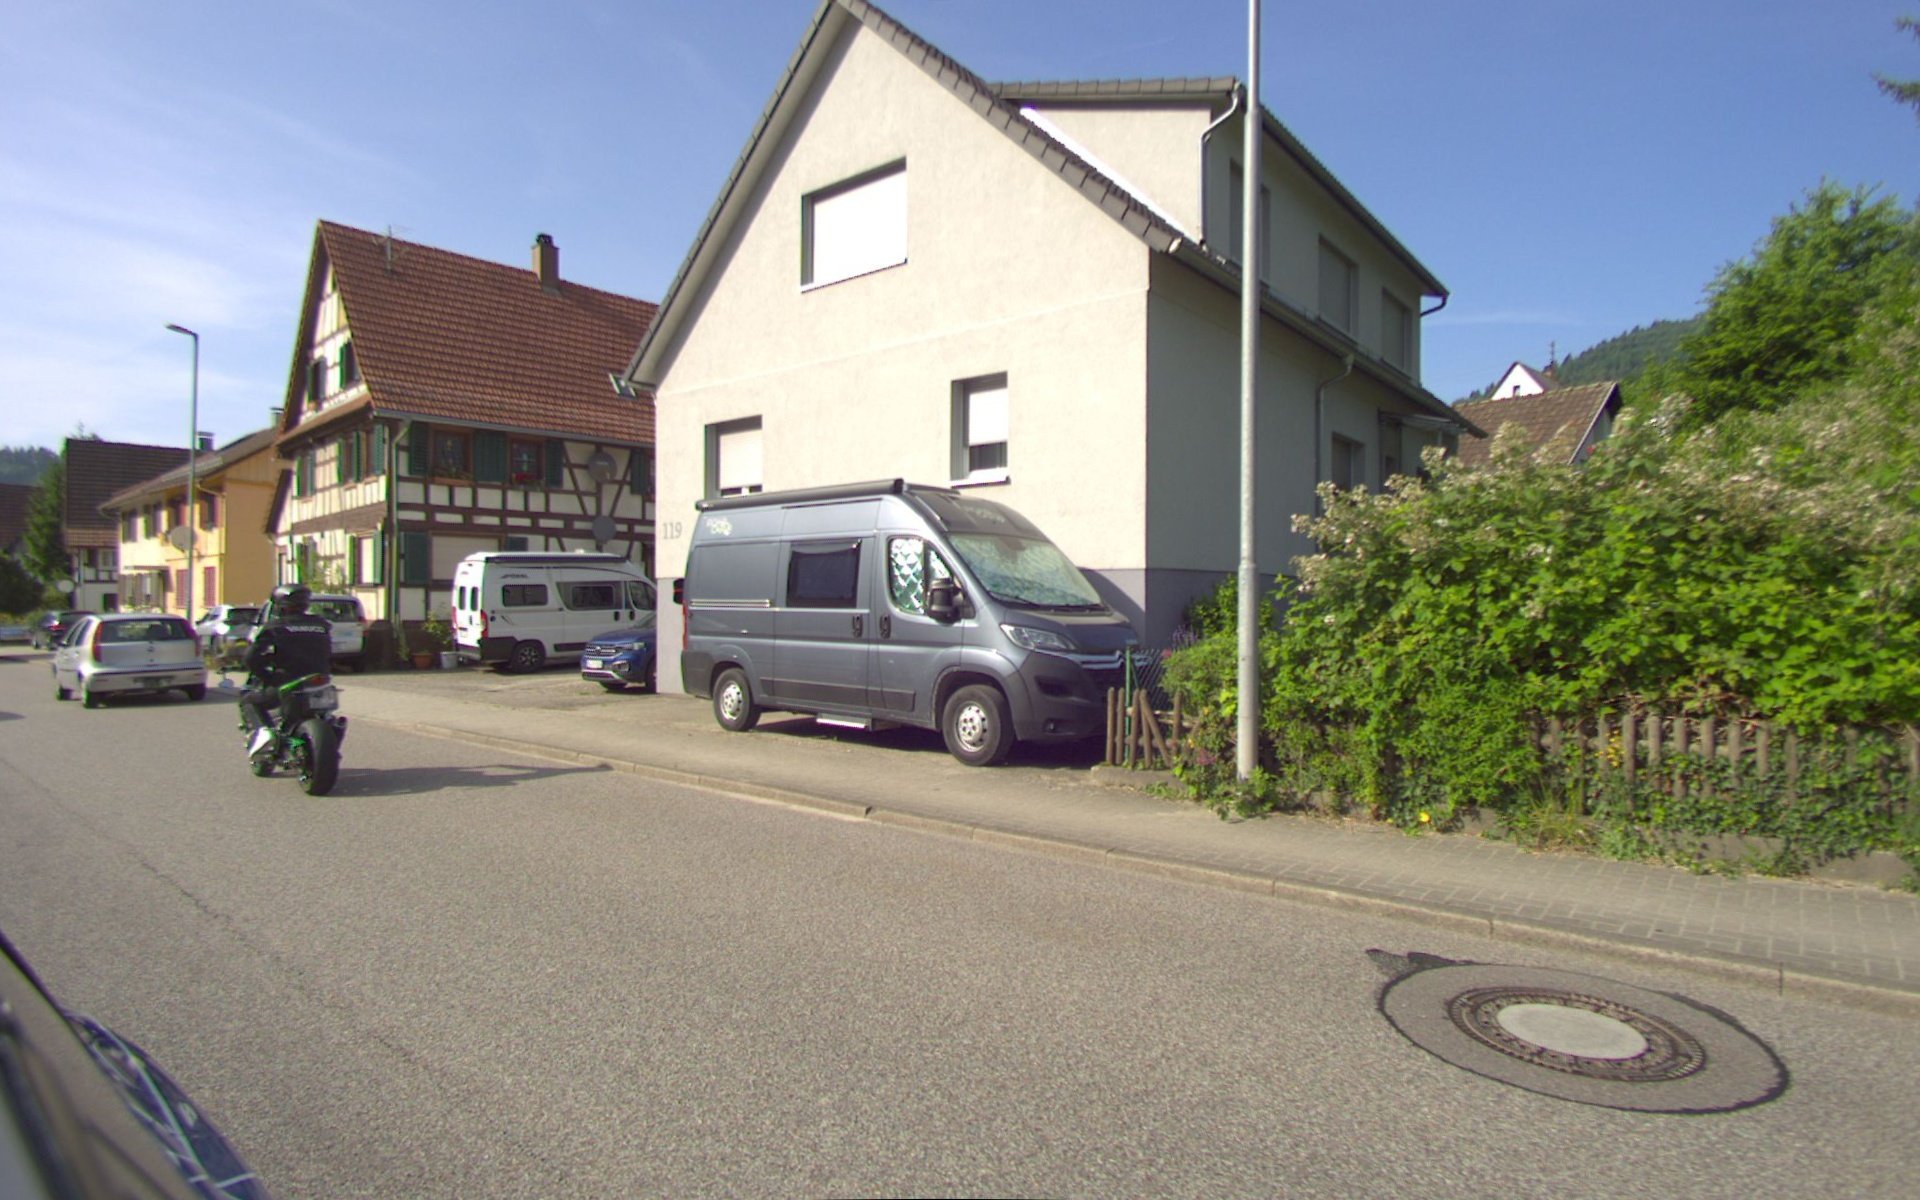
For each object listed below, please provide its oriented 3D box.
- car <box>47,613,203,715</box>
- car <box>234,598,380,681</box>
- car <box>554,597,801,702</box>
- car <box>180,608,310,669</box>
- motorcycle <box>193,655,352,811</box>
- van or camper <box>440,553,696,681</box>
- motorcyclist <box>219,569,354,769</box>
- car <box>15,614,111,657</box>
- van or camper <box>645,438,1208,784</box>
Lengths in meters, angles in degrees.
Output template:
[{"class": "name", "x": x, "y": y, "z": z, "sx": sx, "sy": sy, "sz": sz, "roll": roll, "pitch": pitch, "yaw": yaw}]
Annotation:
[{"class": "car", "x": -14.293, "y": 1.002, "z": 17.250, "sx": 4.001, "sy": 1.496, "sz": 1.612, "roll": -1, "pitch": 0, "yaw": 44}, {"class": "car", "x": -14.907, "y": 0.831, "z": 23.022, "sx": 4.269, "sy": 1.677, "sz": 1.879, "roll": -1, "pitch": 0, "yaw": 44}, {"class": "car", "x": -5.005, "y": 0.803, "z": 18.320, "sx": 1.906, "sy": 1.561, "sz": 3.879, "roll": -2, "pitch": 1, "yaw": 40}, {"class": "car", "x": -19.402, "y": 1.017, "z": 27.396, "sx": 4.090, "sy": 1.530, "sz": 1.865, "roll": -1, "pitch": -2, "yaw": 40}, {"class": "motorcycle", "x": -5.789, "y": 1.036, "z": 8.460, "sx": 2.182, "sy": 1.076, "sz": 0.646, "roll": -1, "pitch": -1, "yaw": 43}, {"class": "van or camper", "x": -9.075, "y": 0.300, "z": 23.748, "sx": 5.114, "sy": 2.683, "sz": 2.195, "roll": -2, "pitch": 1, "yaw": -43}, {"class": "motorcyclist", "x": -5.617, "y": 0.543, "z": 8.447, "sx": 0.628, "sy": 1.570, "sz": 0.816, "roll": -1, "pitch": -1, "yaw": 44}, {"class": "car", "x": -34.248, "y": 1.326, "z": 38.612, "sx": 4.228, "sy": 1.530, "sz": 1.868, "roll": -1, "pitch": 0, "yaw": 36}, {"class": "van or camper", "x": -0.676, "y": 0.122, "z": 10.288, "sx": 5.900, "sy": 2.574, "sz": 2.125, "roll": -1, "pitch": -1, "yaw": 42}]
